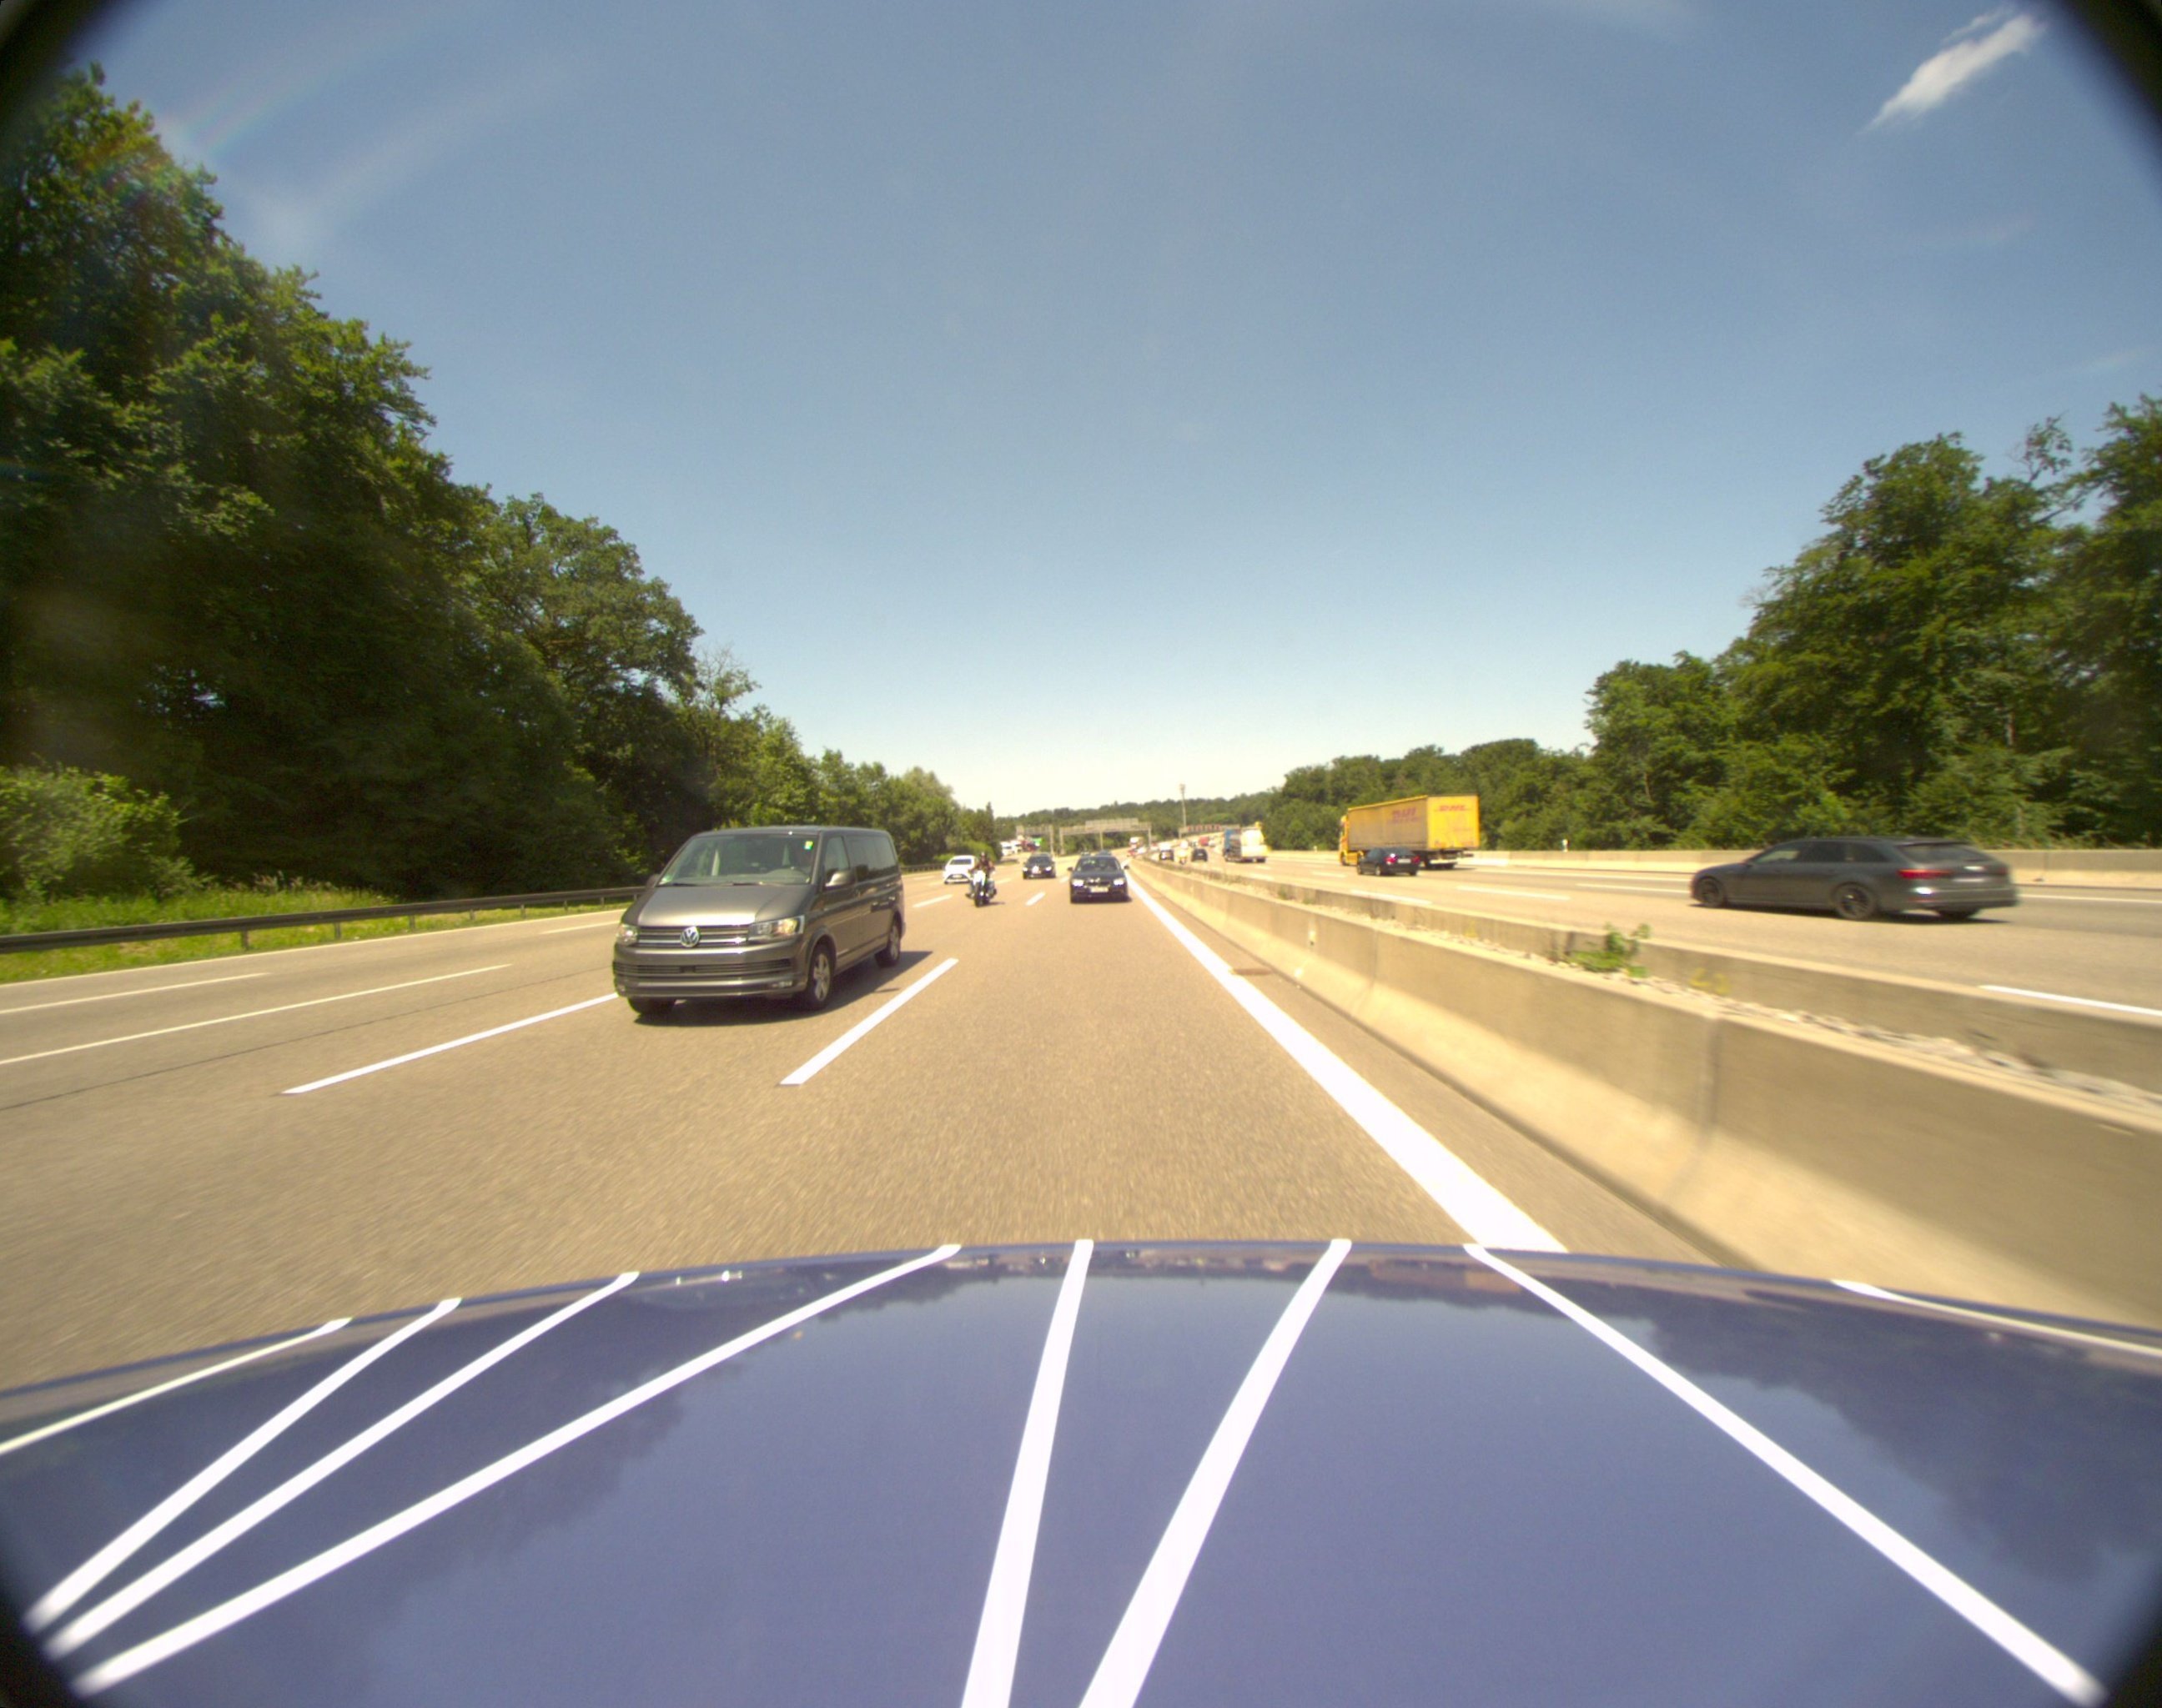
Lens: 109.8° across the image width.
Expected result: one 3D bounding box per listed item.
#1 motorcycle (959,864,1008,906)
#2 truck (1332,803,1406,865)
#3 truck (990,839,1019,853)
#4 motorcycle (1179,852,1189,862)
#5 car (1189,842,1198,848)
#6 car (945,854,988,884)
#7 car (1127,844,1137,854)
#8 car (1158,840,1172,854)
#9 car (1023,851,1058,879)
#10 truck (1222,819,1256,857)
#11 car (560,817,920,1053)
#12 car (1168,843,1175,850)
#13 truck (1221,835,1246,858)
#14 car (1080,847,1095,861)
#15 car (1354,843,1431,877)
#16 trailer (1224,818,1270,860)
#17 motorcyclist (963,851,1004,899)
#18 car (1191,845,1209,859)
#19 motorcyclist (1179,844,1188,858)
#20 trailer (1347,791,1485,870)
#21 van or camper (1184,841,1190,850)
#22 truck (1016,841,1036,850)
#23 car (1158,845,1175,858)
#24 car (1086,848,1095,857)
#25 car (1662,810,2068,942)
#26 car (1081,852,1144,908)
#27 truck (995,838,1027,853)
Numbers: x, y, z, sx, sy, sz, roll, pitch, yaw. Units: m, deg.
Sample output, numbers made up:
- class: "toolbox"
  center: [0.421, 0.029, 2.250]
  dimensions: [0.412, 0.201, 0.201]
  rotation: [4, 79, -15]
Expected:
- class: "motorcycle"
  center: [-2.963, 0.927, 23.325]
  dimensions: [0.536, 1.129, 2.439]
  rotation: [-1, 2, 16]
- class: "truck"
  center: [19.981, -1.349, 53.145]
  dimensions: [2.757, 3.994, 6.752]
  rotation: [-2, 1, 2]
- class: "truck"
  center: [-24.792, -2.541, 244.830]
  dimensions: [2.836, 4.436, 12.028]
  rotation: [-5, 4, -39]
- class: "motorcycle"
  center: [10.132, 0.285, 75.095]
  dimensions: [0.729, 1.008, 2.527]
  rotation: [-2, 1, 3]
- class: "car"
  center: [27.387, -2.217, 184.738]
  dimensions: [1.767, 1.474, 4.495]
  rotation: [-3, 1, 5]
- class: "car"
  center: [-6.382, 0.784, 42.809]
  dimensions: [1.754, 1.510, 4.483]
  rotation: [-2, 0, 0]
- class: "car"
  center: [11.199, -1.166, 166.595]
  dimensions: [1.998, 2.002, 4.000]
  rotation: [-3, 1, 3]
- class: "car"
  center: [16.951, -1.412, 153.238]
  dimensions: [2.102, 2.673, 6.309]
  rotation: [-3, 0, 2]
- class: "car"
  center: [-2.443, 0.655, 46.827]
  dimensions: [1.760, 1.431, 3.999]
  rotation: [-2, 2, 3]
- class: "truck"
  center: [17.108, -1.725, 82.761]
  dimensions: [2.537, 3.917, 6.801]
  rotation: [-3, 1, 3]
- class: "car"
  center: [-3.539, 0.696, 9.226]
  dimensions: [1.968, 2.022, 5.083]
  rotation: [-2, 1, 1]
- class: "car"
  center: [26.809, -2.211, 224.340]
  dimensions: [1.823, 1.860, 4.589]
  rotation: [-2, 1, 4]
- class: "truck"
  center: [24.848, -1.322, 124.401]
  dimensions: [2.616, 3.446, 9.882]
  rotation: [-3, 1, 4]
- class: "car"
  center: [0.893, 0.013, 103.951]
  dimensions: [1.729, 1.522, 3.740]
  rotation: [6, 4, 2]
- class: "car"
  center: [14.814, 0.258, 36.405]
  dimensions: [1.998, 1.474, 4.581]
  rotation: [-2, 1, 4]
- class: "trailer"
  center: [16.866, -1.566, 78.002]
  dimensions: [2.544, 3.859, 11.694]
  rotation: [-3, 1, 3]
- class: "motorcyclist"
  center: [-2.972, 0.633, 23.232]
  dimensions: [0.854, 1.419, 1.024]
  rotation: [-1, 2, 16]
- class: "car"
  center: [14.320, -0.264, 91.682]
  dimensions: [1.724, 1.634, 4.060]
  rotation: [-2, 1, 3]
- class: "motorcyclist"
  center: [10.105, -0.307, 75.059]
  dimensions: [0.729, 1.353, 0.905]
  rotation: [-2, 1, 3]
- class: "trailer"
  center: [19.735, -1.275, 46.206]
  dimensions: [2.729, 3.981, 13.725]
  rotation: [-2, 1, 2]
- class: "van or camper"
  center: [34.290, -2.749, 245.866]
  dimensions: [1.997, 2.783, 7.417]
  rotation: [-2, 1, 7]
- class: "truck"
  center: [-19.027, -2.862, 262.295]
  dimensions: [2.003, 2.934, 8.724]
  rotation: [-5, 3, -37]
- class: "car"
  center: [11.013, -0.334, 98.335]
  dimensions: [1.998, 1.695, 4.954]
  rotation: [-2, 1, 4]
- class: "car"
  center: [2.302, -0.387, 178.180]
  dimensions: [1.998, 2.002, 3.999]
  rotation: [-3, 2, 2]
- class: "car"
  center: [13.671, 0.264, 13.923]
  dimensions: [1.999, 1.861, 5.249]
  rotation: [-3, 2, 0]
- class: "car"
  center: [0.990, 0.748, 24.023]
  dimensions: [1.769, 1.496, 4.000]
  rotation: [-3, 1, 2]
- class: "truck"
  center: [-23.233, -2.847, 251.627]
  dimensions: [2.836, 4.434, 14.603]
  rotation: [-3, 1, -38]
